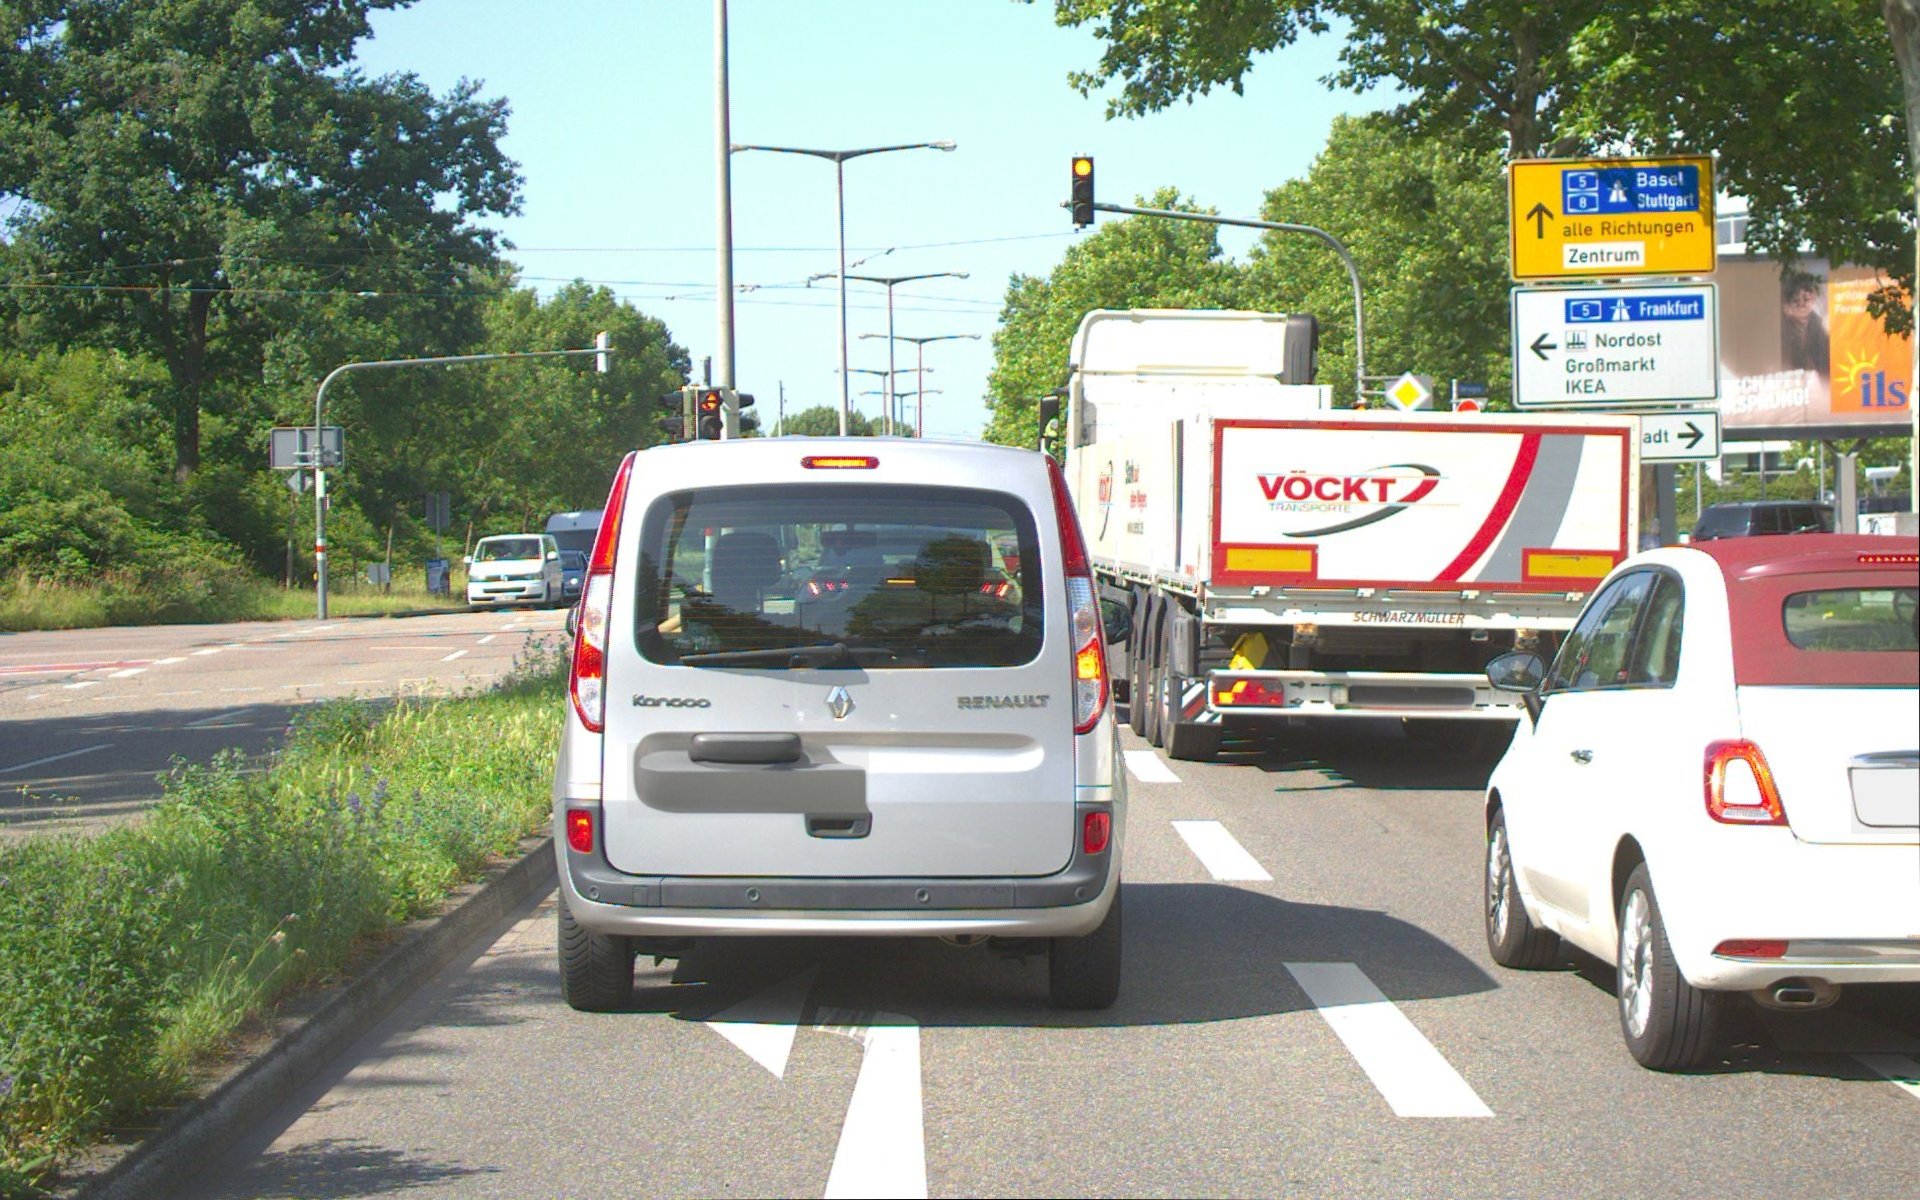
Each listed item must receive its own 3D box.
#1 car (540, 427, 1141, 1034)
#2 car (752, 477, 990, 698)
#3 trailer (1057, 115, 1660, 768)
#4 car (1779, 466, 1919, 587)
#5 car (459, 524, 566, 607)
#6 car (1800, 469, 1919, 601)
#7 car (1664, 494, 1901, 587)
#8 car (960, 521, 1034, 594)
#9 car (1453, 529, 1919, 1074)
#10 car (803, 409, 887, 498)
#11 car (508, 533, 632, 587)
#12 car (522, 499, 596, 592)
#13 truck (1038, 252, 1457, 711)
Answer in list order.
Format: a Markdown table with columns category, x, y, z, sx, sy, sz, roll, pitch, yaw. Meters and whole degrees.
| category | x | y | z | sx | sy | sz | roll | pitch | yaw |
| --- | --- | --- | --- | --- | --- | --- | --- | --- | --- |
| car | -0.383 | 0.349 | 11.993 | 1.749 | 1.766 | 3.950 | 0 | 1 | -1 |
| car | -0.774 | -0.128 | 28.098 | 1.809 | 1.678 | 4.001 | 0 | 1 | -3 |
| trailer | 2.445 | -1.006 | 25.759 | 3.016 | 3.728 | 12.241 | 0 | 1 | 0 |
| car | 13.538 | -1.018 | 47.768 | 3.987 | 1.656 | 1.723 | 0 | 1 | 5 |
| car | -10.882 | -0.859 | 83.973 | 1.993 | 1.884 | 4.988 | -3 | 1 | -1 |
| car | 12.920 | -0.828 | 43.979 | 3.987 | 1.656 | 1.723 | 0 | 1 | 5 |
| car | 14.960 | -1.090 | 62.700 | 3.987 | 1.656 | 1.723 | 0 | 1 | 5 |
| car | 1.033 | -1.211 | 97.405 | 1.993 | 2.007 | 4.000 | 0 | 1 | -1 |
| car | 2.613 | 0.501 | 10.795 | 1.661 | 1.431 | 3.520 | 0 | 1 | 1 |
| car | -2.759 | -3.469 | 81.836 | 1.713 | 2.007 | 4.001 | 0 | 1 | -6 |
| car | -10.471 | -1.077 | 92.065 | 1.911 | 1.404 | 4.228 | 0 | 1 | -27 |
| car | -11.567 | -1.568 | 99.152 | 2.058 | 2.605 | 5.871 | 0 | 1 | -7 |
| truck | 2.438 | -1.029 | 31.850 | 3.071 | 3.745 | 7.477 | 0 | 1 | -1 |
